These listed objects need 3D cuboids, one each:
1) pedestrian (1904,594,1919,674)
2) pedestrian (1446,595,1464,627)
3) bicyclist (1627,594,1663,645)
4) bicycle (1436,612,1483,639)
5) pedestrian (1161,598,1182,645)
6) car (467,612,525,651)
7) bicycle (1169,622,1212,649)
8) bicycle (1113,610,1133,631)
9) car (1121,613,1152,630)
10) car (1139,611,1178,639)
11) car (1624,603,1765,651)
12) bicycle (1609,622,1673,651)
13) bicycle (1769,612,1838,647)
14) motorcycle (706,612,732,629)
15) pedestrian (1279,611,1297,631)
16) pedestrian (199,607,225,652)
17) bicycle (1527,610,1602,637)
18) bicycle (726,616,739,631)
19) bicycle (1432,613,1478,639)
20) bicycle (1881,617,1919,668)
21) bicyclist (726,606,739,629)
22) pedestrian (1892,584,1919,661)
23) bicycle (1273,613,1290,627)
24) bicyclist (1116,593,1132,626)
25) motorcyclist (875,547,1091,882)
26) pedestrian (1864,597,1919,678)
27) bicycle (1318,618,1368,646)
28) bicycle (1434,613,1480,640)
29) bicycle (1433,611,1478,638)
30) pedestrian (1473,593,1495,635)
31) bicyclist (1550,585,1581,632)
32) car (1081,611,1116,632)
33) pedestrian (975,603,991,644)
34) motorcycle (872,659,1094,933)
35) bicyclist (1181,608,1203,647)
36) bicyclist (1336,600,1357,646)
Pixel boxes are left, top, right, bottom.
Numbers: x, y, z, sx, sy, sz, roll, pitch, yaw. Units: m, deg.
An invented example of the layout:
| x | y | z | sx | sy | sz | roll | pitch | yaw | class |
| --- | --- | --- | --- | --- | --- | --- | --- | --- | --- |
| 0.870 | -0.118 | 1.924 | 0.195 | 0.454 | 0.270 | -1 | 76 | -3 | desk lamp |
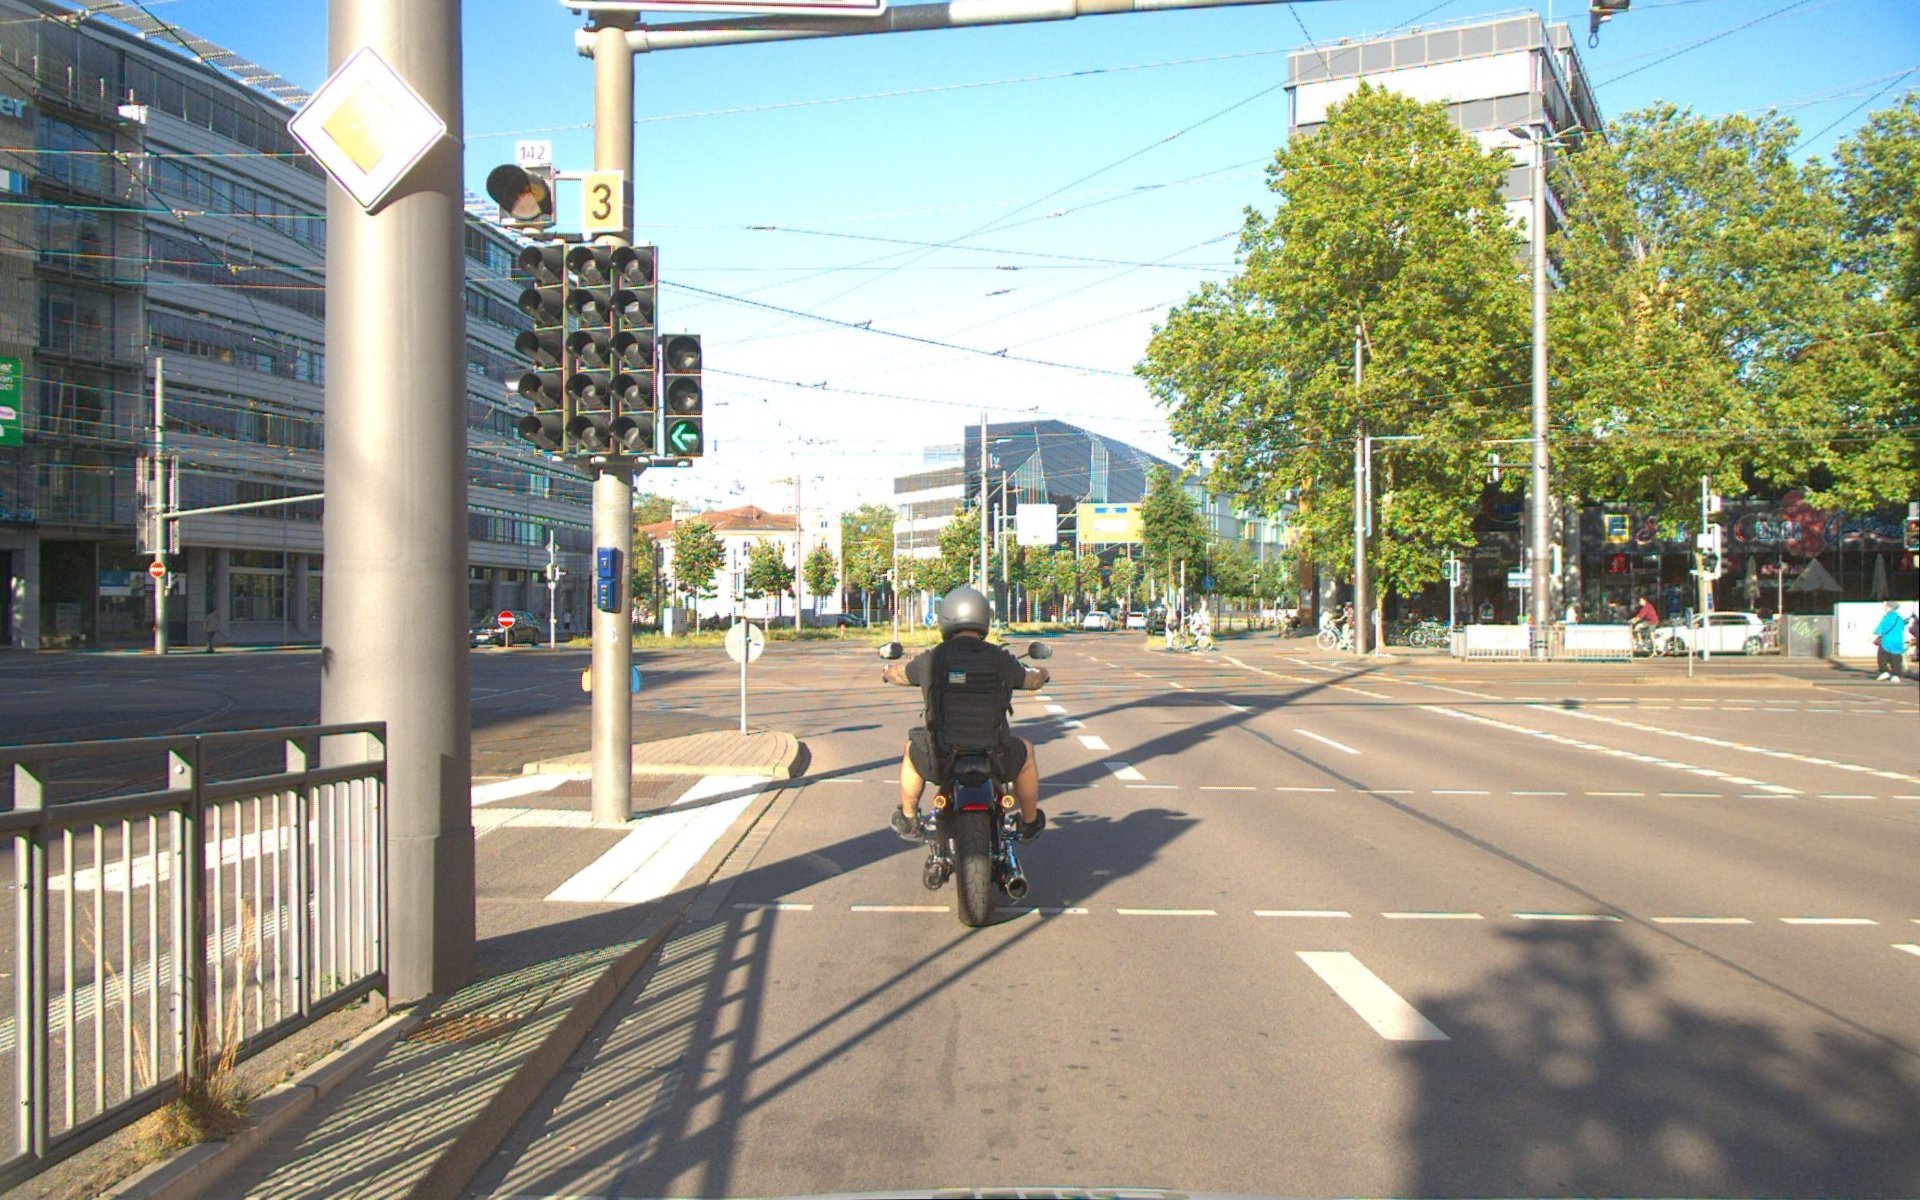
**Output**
| x | y | z | sx | sy | sz | roll | pitch | yaw | class |
| --- | --- | --- | --- | --- | --- | --- | --- | --- | --- |
| 19.158 | 0.679 | 32.612 | 0.638 | 1.566 | 0.741 | 1 | -1 | -8 | pedestrian |
| 24.534 | 0.549 | 82.046 | 0.761 | 1.554 | 0.563 | -1 | -1 | 26 | pedestrian |
| 22.416 | 0.634 | 54.137 | 0.906 | 1.643 | 0.638 | 0 | -1 | 3 | bicyclist |
| 19.029 | 0.983 | 63.015 | 1.668 | 1.003 | 0.391 | 0 | 0 | 13 | bicycle |
| 8.517 | 0.875 | 66.587 | 0.688 | 1.869 | 0.513 | 0 | -1 | 35 | pedestrian |
| -18.878 | 1.252 | 67.471 | 1.758 | 1.491 | 4.302 | -1 | 0 | -9 | car |
| 9.002 | 1.405 | 64.568 | 1.594 | 1.039 | 0.516 | -1 | -1 | 23 | bicycle |
| 13.138 | 1.655 | 133.023 | 0.994 | 1.607 | 3.576 | 0 | 0 | 16 | bicycle |
| 15.003 | 1.852 | 140.423 | 1.973 | 1.400 | 4.041 | 0 | 0 | 17 | car |
| 13.967 | 1.775 | 116.060 | 2.010 | 1.906 | 4.229 | 1 | -1 | 17 | car |
| 24.813 | 0.919 | 56.007 | 3.903 | 1.512 | 2.001 | 1 | -1 | 3 | car |
| 22.285 | 1.187 | 54.161 | 1.814 | 0.926 | 0.652 | 0 | 0 | 3 | bicycle |
| 31.936 | 1.098 | 62.612 | 2.890 | 1.256 | 0.870 | 0 | 0 | -28 | bicycle |
| -17.399 | 1.463 | 119.507 | 0.962 | 1.253 | 2.945 | 0 | -1 | 10 | motorcycle |
| 17.469 | 1.105 | 88.115 | 0.768 | 1.075 | 0.814 | -1 | 0 | 22 | pedestrian |
| -31.167 | 1.220 | 68.943 | 0.661 | 1.855 | 0.885 | -1 | -1 | 0 | pedestrian |
| 25.704 | 1.011 | 70.395 | 2.977 | 1.133 | 0.835 | 0 | 0 | 19 | bicycle |
| -17.454 | 1.785 | 126.974 | 0.629 | 1.127 | 1.686 | 0 | 0 | 5 | bicycle |
| 19.386 | 1.001 | 64.776 | 1.668 | 1.003 | 0.391 | 0 | 0 | 13 | bicycle |
| 20.536 | 0.909 | 35.216 | 0.773 | 1.070 | 1.922 | 1 | -1 | -1 | bicycle |
| -17.446 | 1.335 | 126.939 | 0.747 | 1.696 | 0.994 | 0 | 0 | 7 | bicyclist |
| 20.544 | 0.480 | 35.365 | 0.754 | 1.622 | 0.838 | 1 | -1 | -1 | pedestrian |
| 26.264 | 1.621 | 135.162 | 1.018 | 1.153 | 3.181 | 0 | 0 | 18 | bicycle |
| 13.170 | 0.766 | 132.978 | 0.994 | 2.670 | 1.473 | 0 | 0 | 16 | bicyclist |
| 0.102 | 0.547 | 8.511 | 1.001 | 1.579 | 1.286 | 1 | 0 | -1 | motorcyclist |
| 18.345 | 0.730 | 32.561 | 0.662 | 1.566 | 0.741 | 1 | -1 | -8 | pedestrian |
| 14.514 | 1.221 | 62.632 | 1.813 | 1.039 | 0.517 | -1 | -1 | 11 | bicycle |
| 19.180 | 1.028 | 63.862 | 1.668 | 1.003 | 0.391 | 0 | 0 | 13 | bicycle |
| 19.275 | 0.952 | 64.354 | 1.668 | 1.003 | 0.391 | 0 | 0 | 13 | bicycle |
| 23.947 | 0.625 | 75.620 | 0.829 | 1.884 | 0.810 | 2 | 0 | 13 | pedestrian |
| 25.771 | 0.371 | 70.369 | 1.201 | 1.965 | 0.835 | 0 | 0 | 19 | bicyclist |
| 10.340 | 1.613 | 123.659 | 1.861 | 1.534 | 4.002 | 1 | -1 | 16 | car |
| 0.922 | 0.936 | 66.094 | 0.643 | 1.610 | 0.489 | 0 | 0 | 3 | pedestrian |
| 0.086 | 0.929 | 8.650 | 0.985 | 1.145 | 2.322 | 1 | 0 | -1 | motorcycle |
| 9.057 | 1.070 | 64.539 | 0.727 | 1.529 | 0.570 | -1 | -1 | 23 | bicyclist |
| 14.622 | 0.855 | 62.631 | 0.727 | 1.724 | 0.570 | -1 | -1 | 10 | bicyclist |
